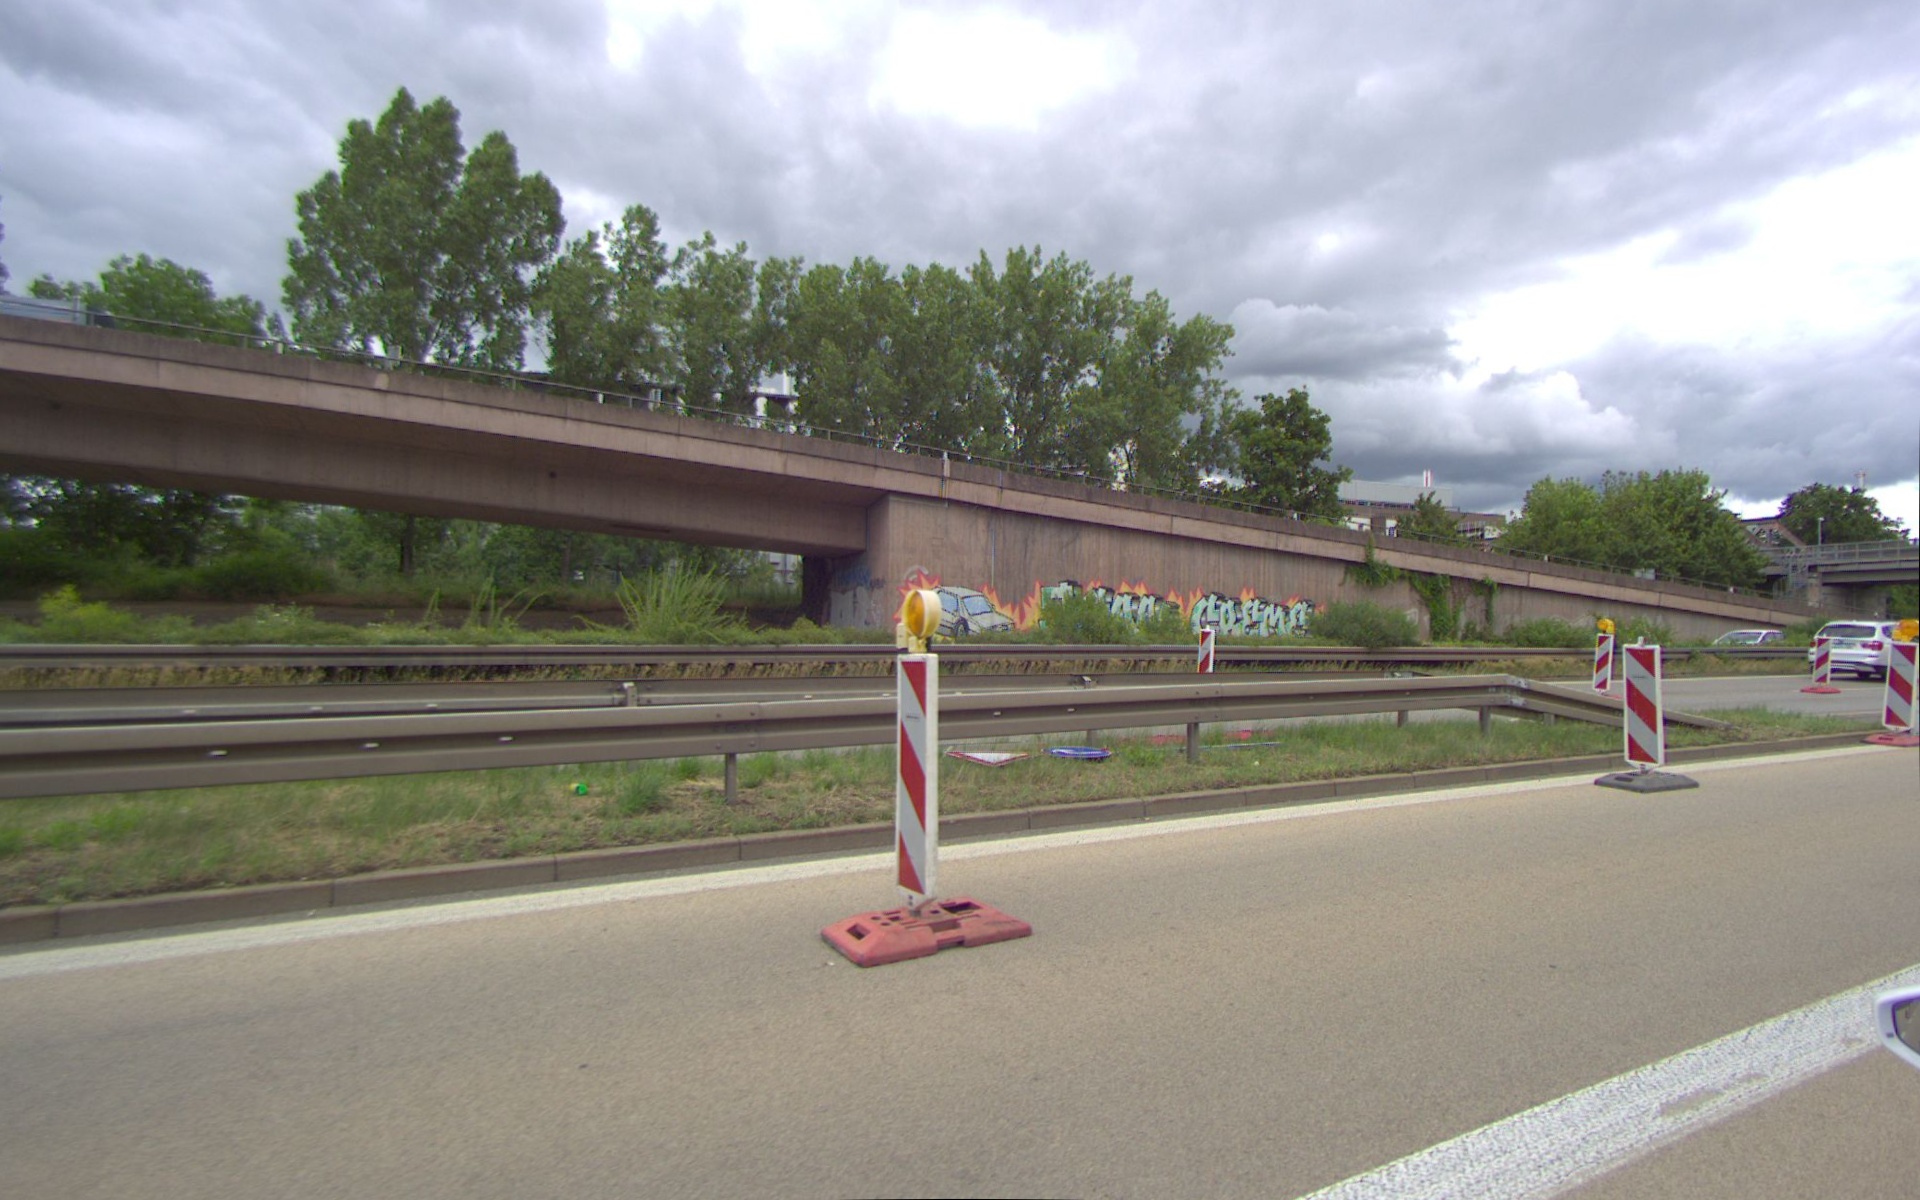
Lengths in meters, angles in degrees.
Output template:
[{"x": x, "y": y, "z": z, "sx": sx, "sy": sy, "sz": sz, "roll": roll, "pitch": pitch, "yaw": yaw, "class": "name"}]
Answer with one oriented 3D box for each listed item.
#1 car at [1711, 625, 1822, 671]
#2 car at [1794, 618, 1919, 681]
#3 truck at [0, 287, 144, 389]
[{"x": 31.619, "y": 1.870, "z": 39.379, "sx": 4.237, "sy": 1.662, "sz": 1.847, "roll": 2, "pitch": -1, "yaw": -27, "class": "car"}, {"x": 26.244, "y": 1.417, "z": 28.985, "sx": 4.237, "sy": 1.662, "sz": 1.847, "roll": 2, "pitch": -1, "yaw": -27, "class": "car"}, {"x": -24.704, "y": -7.014, "z": 26.860, "sx": 3.932, "sy": 2.040, "sz": 1.994, "roll": 2, "pitch": 0, "yaw": -14, "class": "truck"}]
